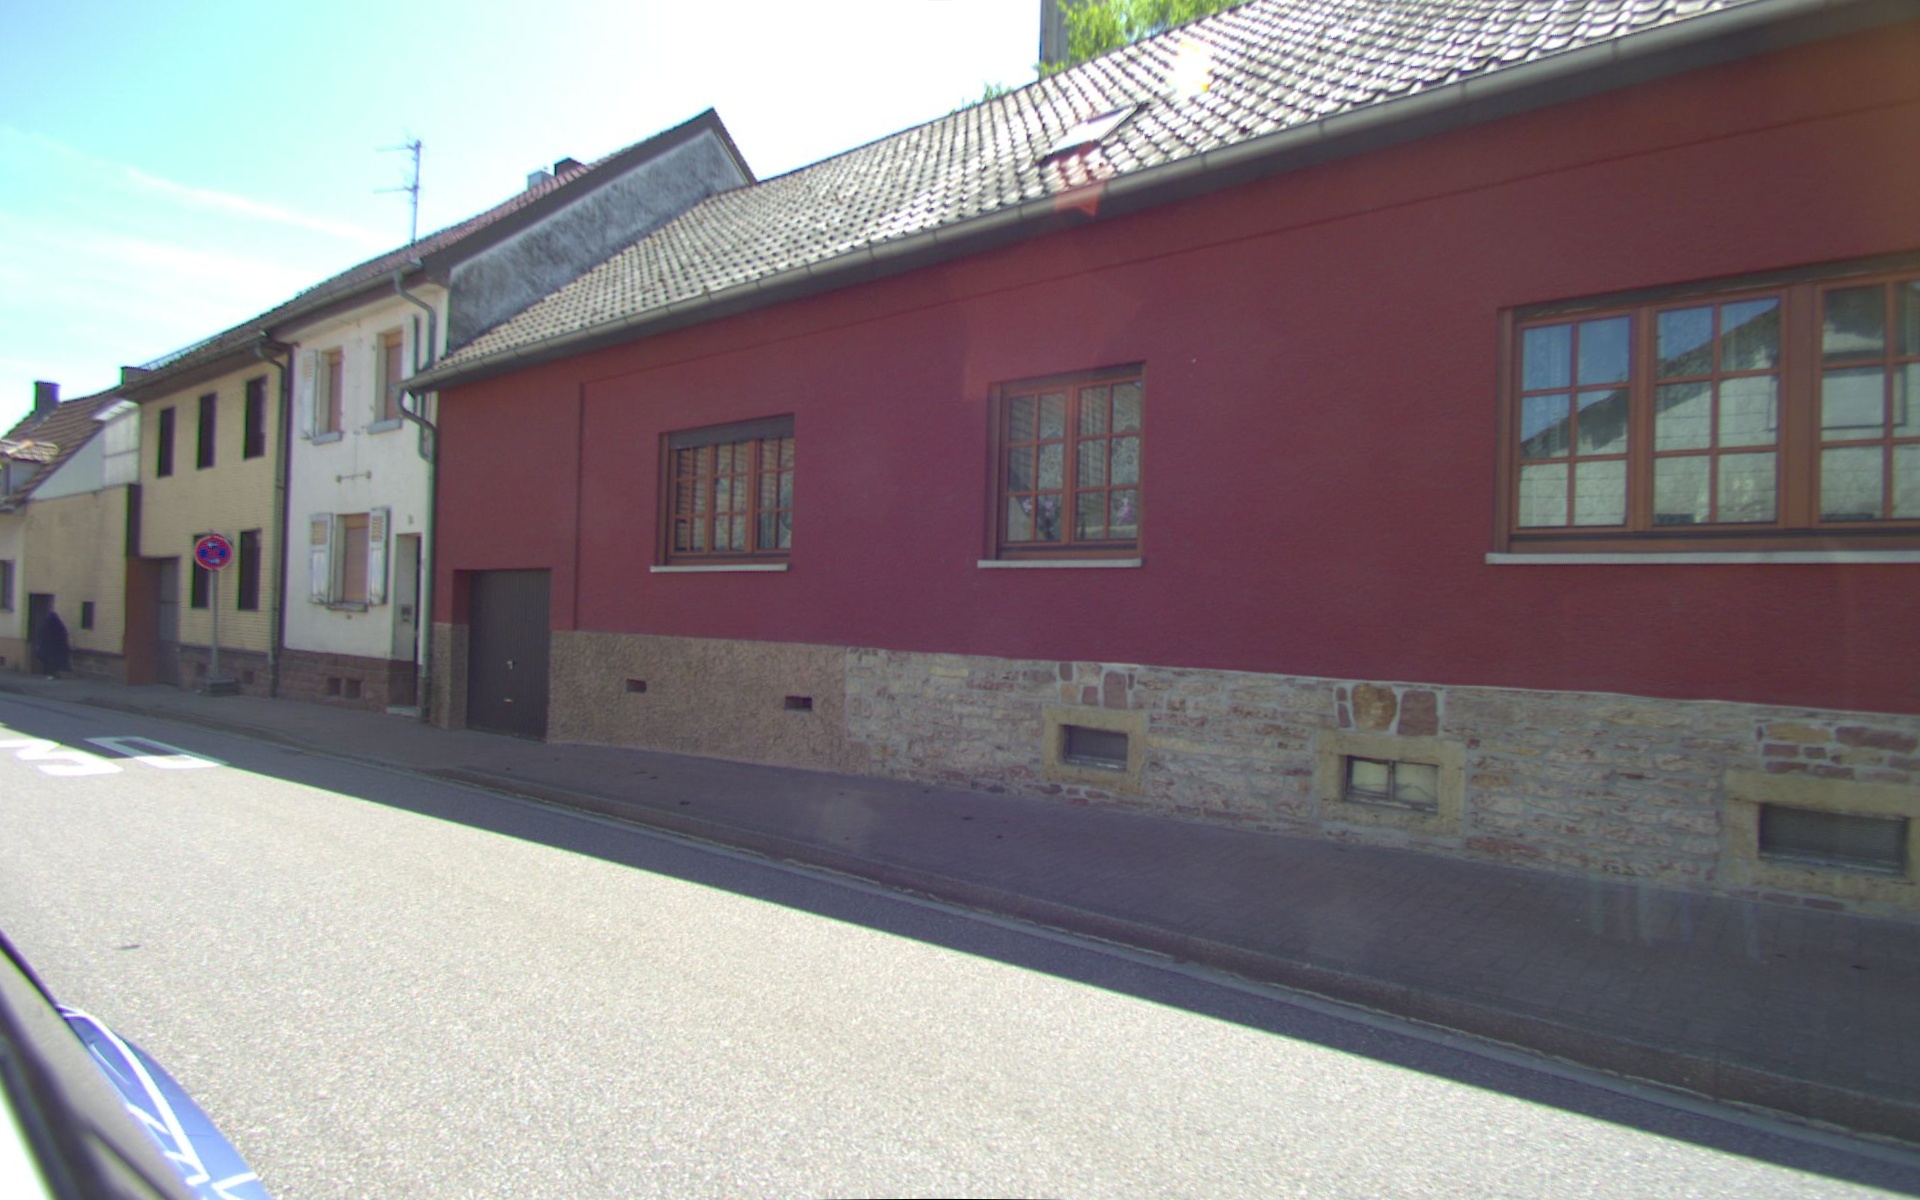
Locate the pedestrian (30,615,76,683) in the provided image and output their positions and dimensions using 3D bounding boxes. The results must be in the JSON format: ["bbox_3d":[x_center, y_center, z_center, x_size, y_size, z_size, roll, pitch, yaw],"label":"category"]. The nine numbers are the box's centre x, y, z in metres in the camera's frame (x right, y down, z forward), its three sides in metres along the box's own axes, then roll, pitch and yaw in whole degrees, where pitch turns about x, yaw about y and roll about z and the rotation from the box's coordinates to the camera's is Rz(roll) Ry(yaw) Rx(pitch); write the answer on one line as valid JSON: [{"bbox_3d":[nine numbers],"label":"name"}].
[{"bbox_3d":[-21.378,1.136,23.847,0.754,1.576,0.655,0,-1,37],"label":"pedestrian"}]
